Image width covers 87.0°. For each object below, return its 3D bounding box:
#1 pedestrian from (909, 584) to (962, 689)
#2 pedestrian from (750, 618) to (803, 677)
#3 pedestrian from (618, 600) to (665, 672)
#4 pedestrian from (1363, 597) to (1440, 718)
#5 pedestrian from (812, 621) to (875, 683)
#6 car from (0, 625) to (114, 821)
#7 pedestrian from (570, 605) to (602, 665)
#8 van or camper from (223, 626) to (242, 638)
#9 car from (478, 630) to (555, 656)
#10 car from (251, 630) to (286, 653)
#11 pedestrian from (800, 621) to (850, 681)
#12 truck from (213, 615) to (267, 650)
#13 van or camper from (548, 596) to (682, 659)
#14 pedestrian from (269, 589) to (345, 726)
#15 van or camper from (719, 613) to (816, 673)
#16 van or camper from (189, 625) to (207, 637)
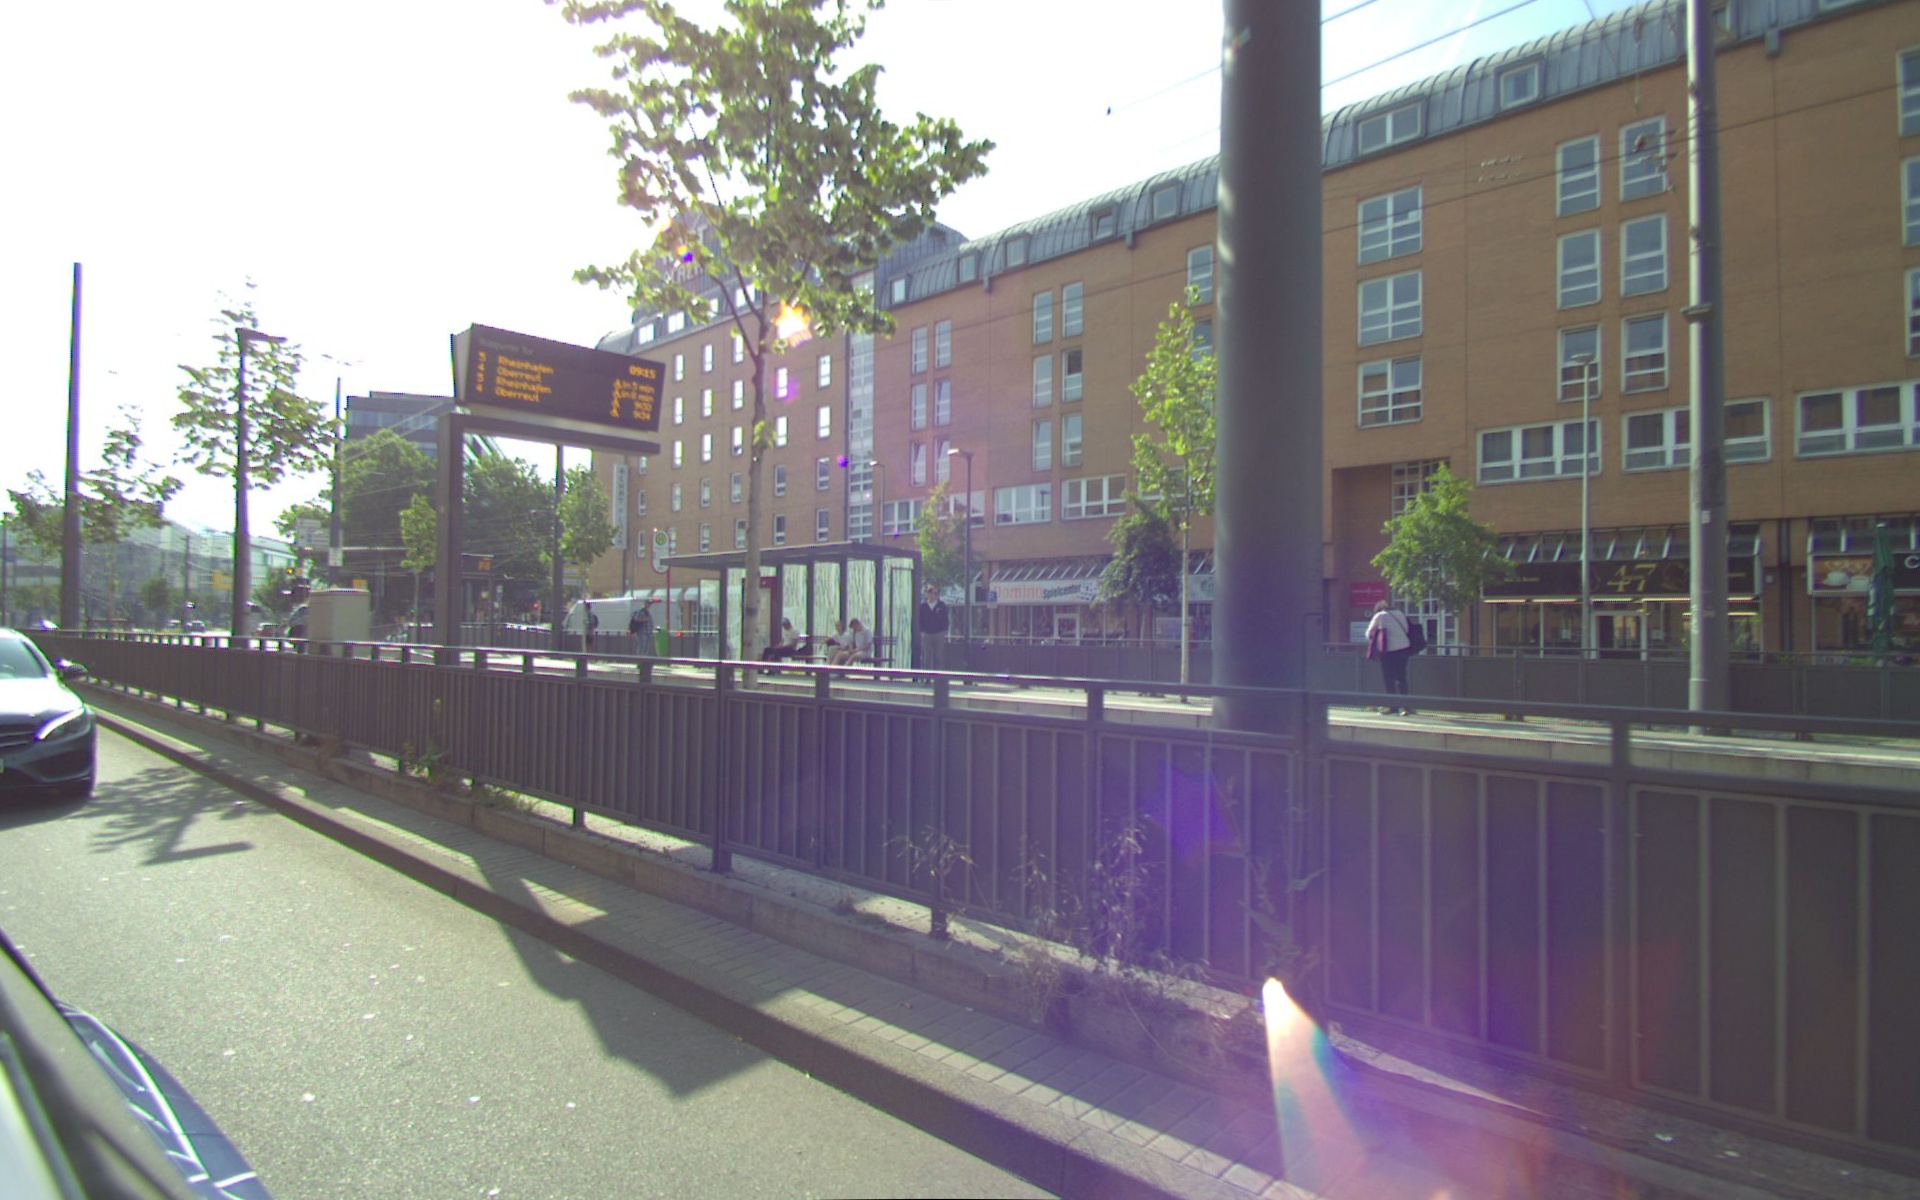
[{"bbox_3d":[-0.450,0.665,18.792,0.804,1.900,0.549,-1,-2,29],"label":"pedestrian"},{"bbox_3d":[-4.201,1.077,23.128,0.808,1.324,0.860,-1,-3,40],"label":"pedestrian"},{"bbox_3d":[-8.100,0.921,25.761,0.825,1.759,0.783,1,-3,7],"label":"pedestrian"},{"bbox_3d":[5.821,0.742,13.381,0.804,1.542,0.675,0,-2,12],"label":"pedestrian"},{"bbox_3d":[-2.431,1.079,21.157,0.675,1.255,1.140,-1,-3,42],"label":"pedestrian"},{"bbox_3d":[-8.819,0.945,8.684,4.236,1.403,1.881,-1,-1,43],"label":"car"},{"bbox_3d":[-11.233,1.037,30.372,0.698,1.774,0.644,-1,0,44],"label":"pedestrian"},{"bbox_3d":[-106.480,4.746,148.154,1.896,1.714,4.011,2,-2,-33],"label":"van or camper"},{"bbox_3d":[-17.530,1.681,39.970,3.488,0.978,1.528,-1,-3,43],"label":"car"},{"bbox_3d":[-64.233,3.840,93.973,1.971,2.029,4.002,3,-3,-45],"label":"car"},{"bbox_3d":[-2.900,1.091,21.775,0.675,1.255,0.783,-1,-3,42],"label":"pedestrian"},{"bbox_3d":[-80.670,3.599,113.246,3.123,3.805,12.369,3,-3,-44],"label":"truck"},{"bbox_3d":[-11.979,0.955,34.925,5.341,2.029,2.059,-1,-3,43],"label":"van or camper"},{"bbox_3d":[-8.750,0.741,13.558,0.727,1.771,0.666,-1,0,42],"label":"pedestrian"},{"bbox_3d":[-9.682,2.116,50.629,5.354,2.823,1.971,-1,-3,44],"label":"van or camper"},{"bbox_3d":[-97.213,3.940,129.138,1.816,1.564,4.009,2,-3,-36],"label":"van or camper"}]
